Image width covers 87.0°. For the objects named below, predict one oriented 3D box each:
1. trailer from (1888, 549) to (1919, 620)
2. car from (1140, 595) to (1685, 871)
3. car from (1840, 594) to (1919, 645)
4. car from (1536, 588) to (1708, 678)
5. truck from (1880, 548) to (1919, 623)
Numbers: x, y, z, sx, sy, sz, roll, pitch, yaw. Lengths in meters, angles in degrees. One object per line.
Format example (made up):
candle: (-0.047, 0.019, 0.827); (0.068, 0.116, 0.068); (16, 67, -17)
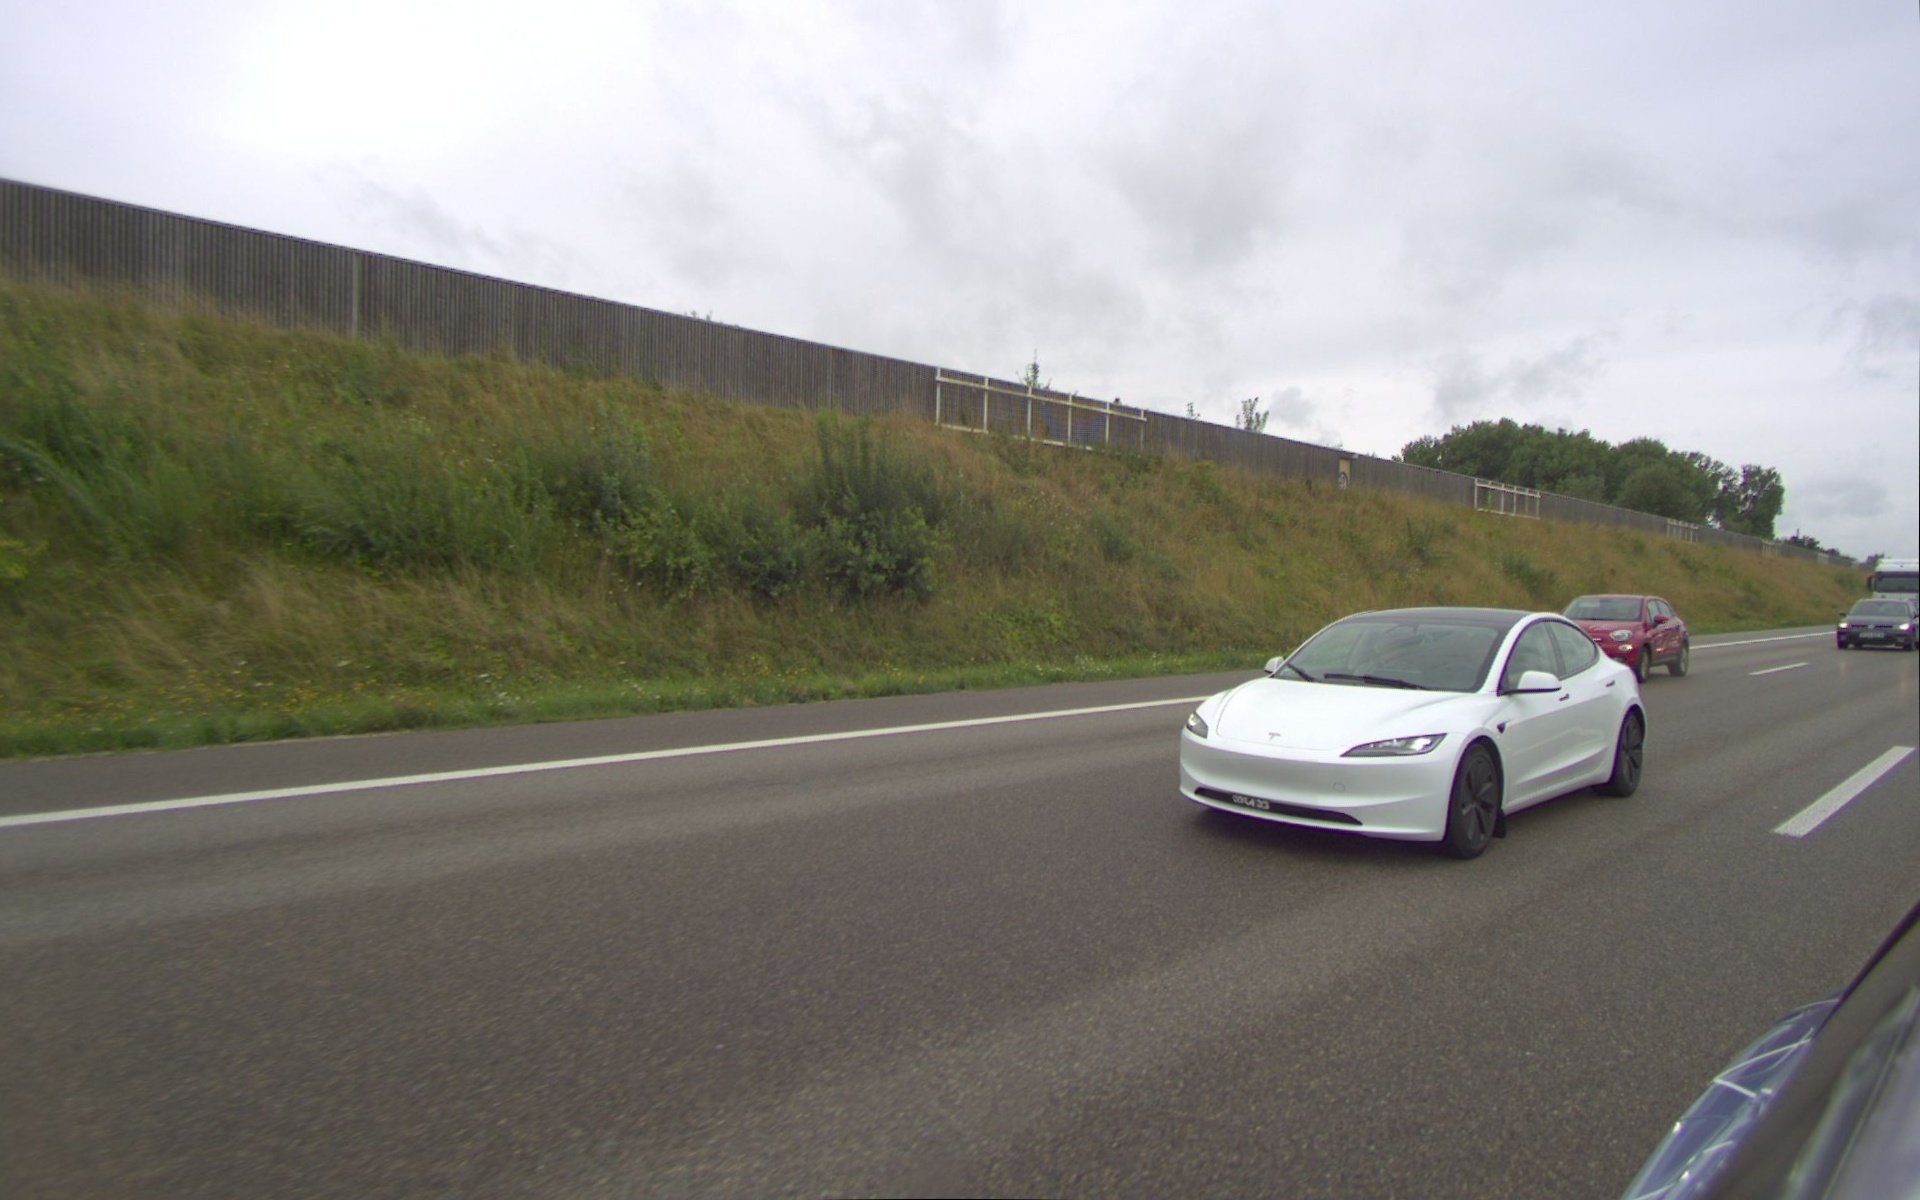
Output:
trailer: (61.227, -0.971, 63.497); (14.963, 4.077, 3.086); (-1, 0, -42)
car: (3.558, 0.666, 7.449); (4.729, 1.380, 1.876); (-1, 1, -41)
car: (30.170, 0.568, 32.717); (4.406, 1.507, 1.928); (-1, 1, -40)
car: (12.904, 0.558, 19.654); (3.932, 1.554, 1.876); (-1, 1, -42)
truck: (55.198, -0.835, 57.927); (6.838, 4.077, 3.086); (-1, 0, -42)
